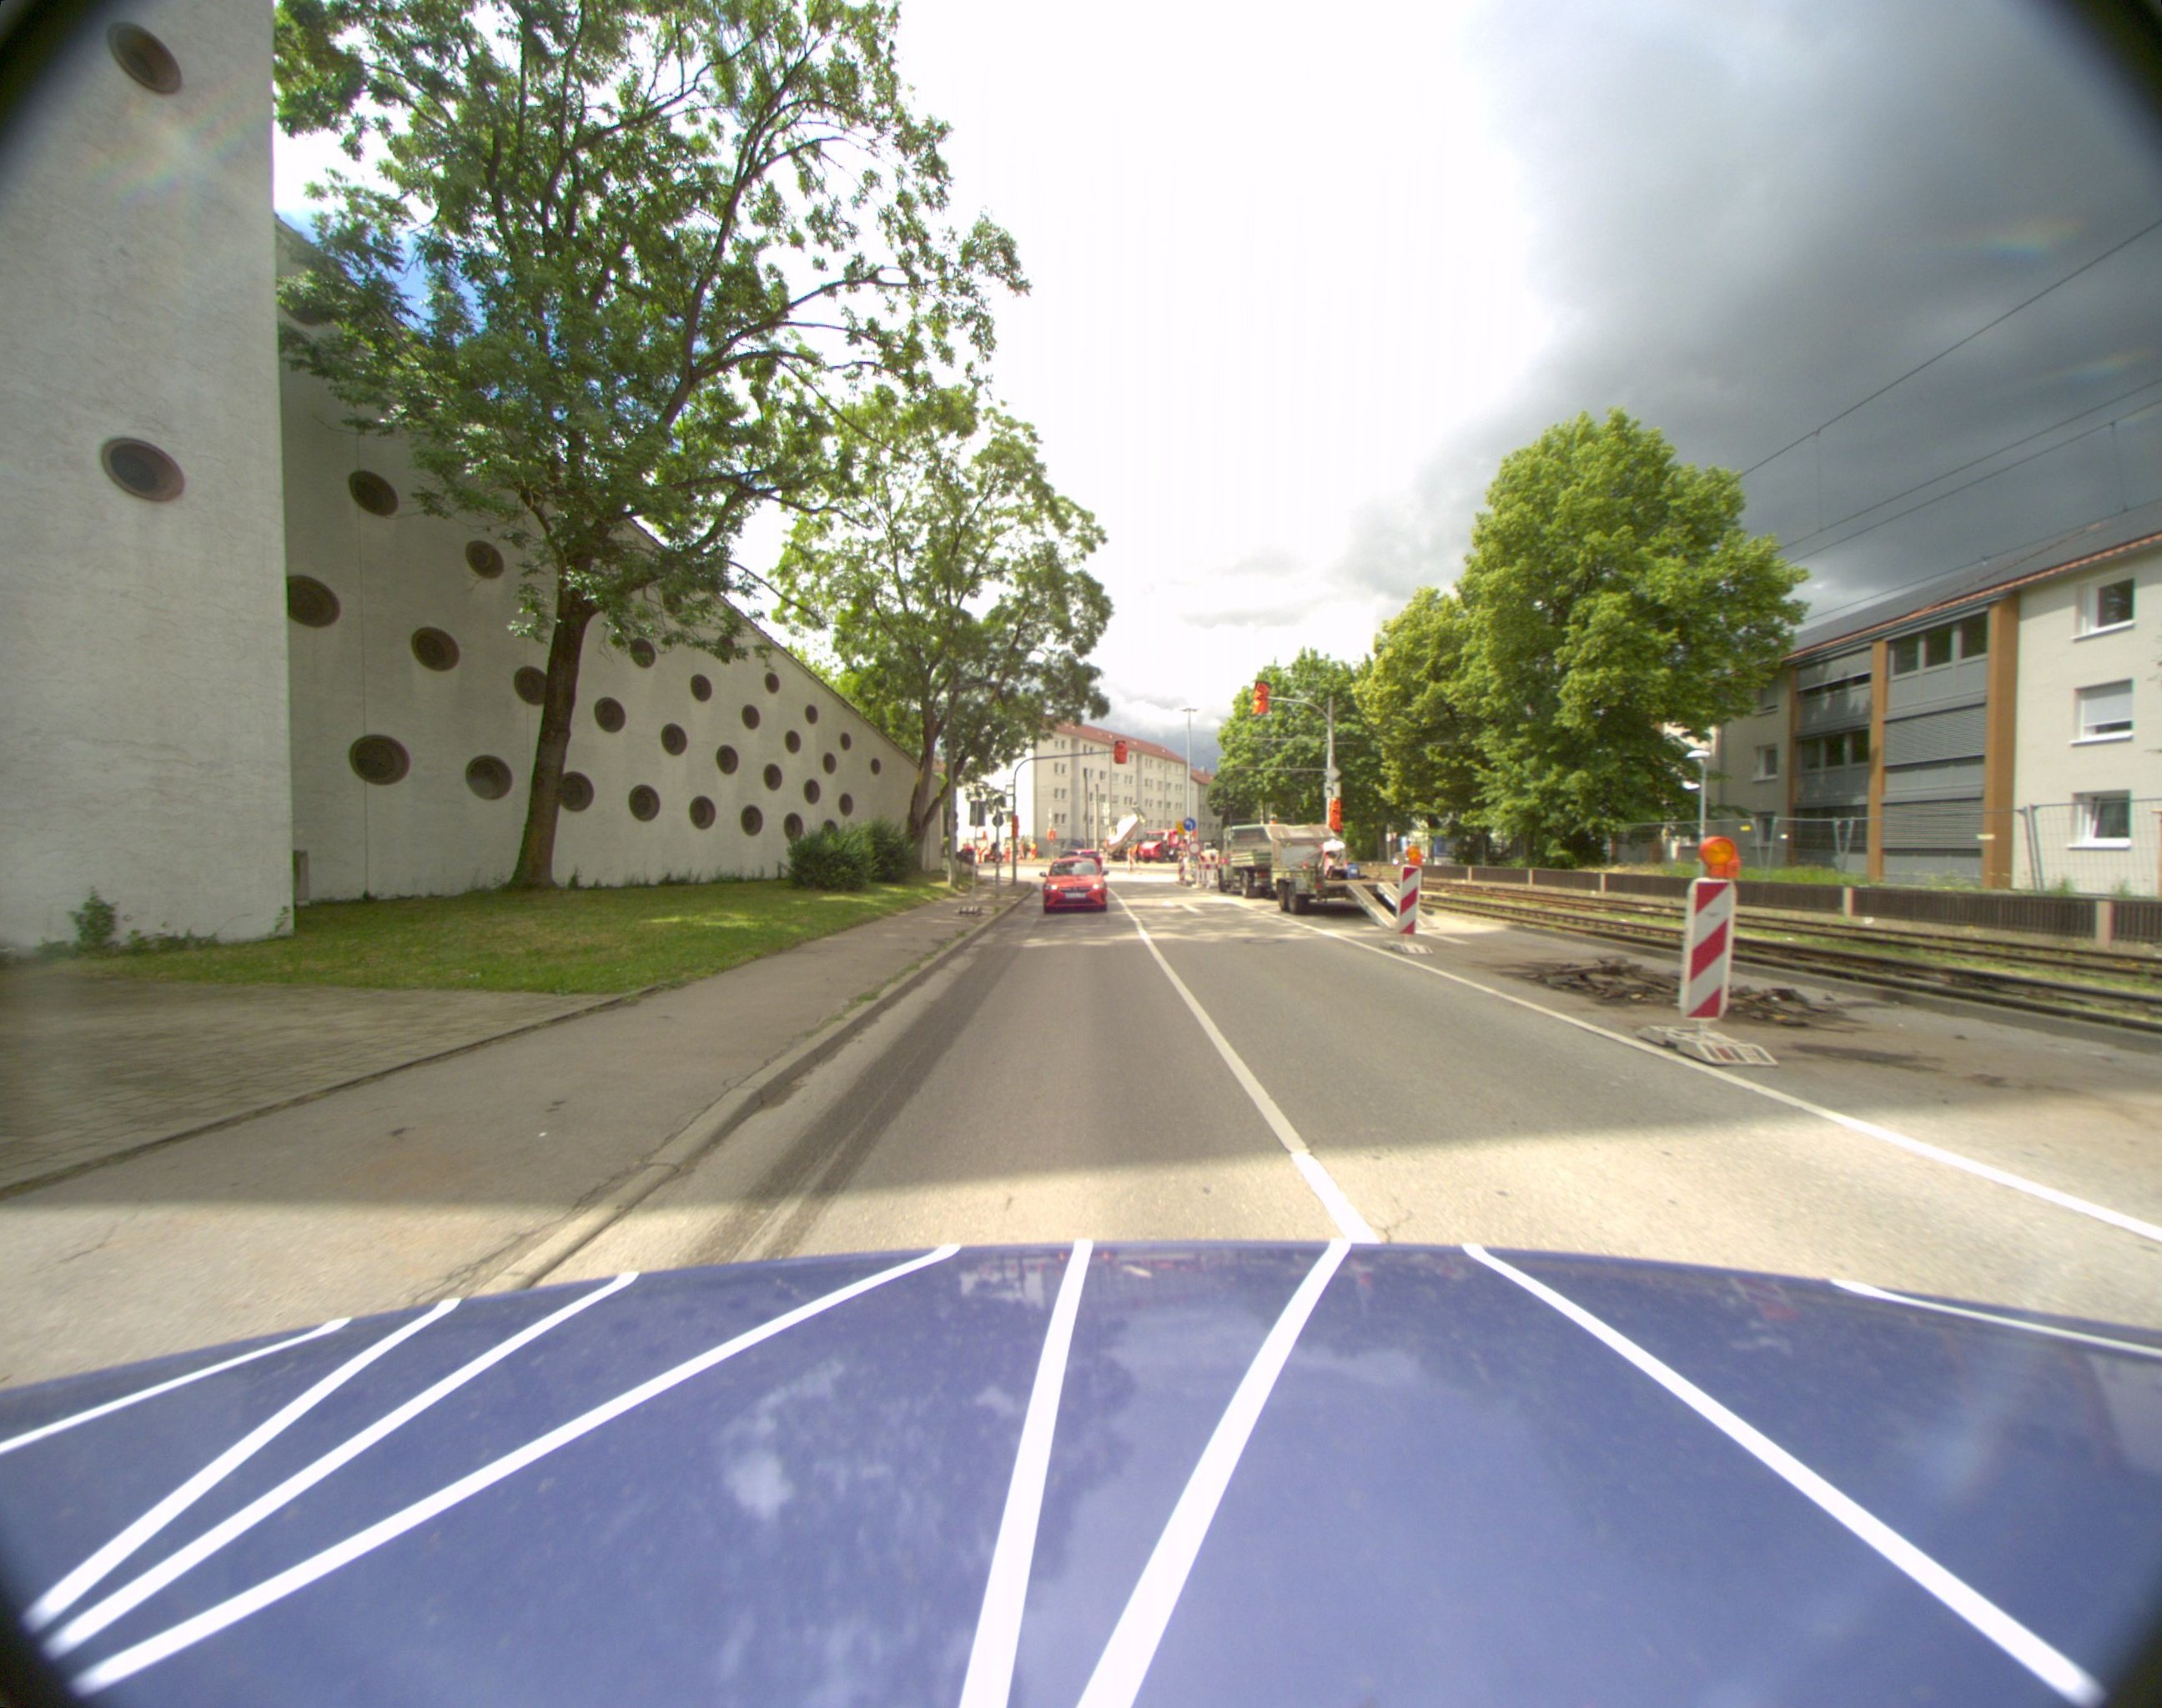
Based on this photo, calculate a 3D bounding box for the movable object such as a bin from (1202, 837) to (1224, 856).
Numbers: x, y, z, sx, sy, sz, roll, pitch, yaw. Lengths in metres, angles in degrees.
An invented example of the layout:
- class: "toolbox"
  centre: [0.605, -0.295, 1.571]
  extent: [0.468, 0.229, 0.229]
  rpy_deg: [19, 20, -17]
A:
- class: "movable object such as a bin"
  centre: [17.034, -0.908, 97.571]
  extent: [1.995, 2.395, 4.006]
  rpy_deg: [1, 0, 22]

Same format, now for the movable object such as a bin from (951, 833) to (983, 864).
- class: "movable object such as a bin"
  centre: [-9.488, -0.473, 63.203]
  extent: [2.355, 2.579, 1.323]
  rpy_deg: [1, 2, 39]

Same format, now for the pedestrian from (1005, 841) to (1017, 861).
- class: "pedestrian"
  centre: [-6.429, -0.310, 69.811]
  extent: [0.767, 1.829, 0.785]
  rpy_deg: [1, 1, 26]

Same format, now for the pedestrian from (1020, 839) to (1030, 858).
- class: "pedestrian"
  centre: [-5.500, -0.564, 74.736]
  extent: [0.881, 1.897, 0.666]
  rpy_deg: [-1, 2, -16]

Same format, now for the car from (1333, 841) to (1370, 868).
- class: "car"
  centre: [19.548, -0.001, 55.155]
  extent: [1.996, 1.876, 5.256]
  rpy_deg: [0, 1, 14]

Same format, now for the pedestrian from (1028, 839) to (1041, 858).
- class: "pedestrian"
  centre: [-4.525, -0.550, 73.748]
  extent: [0.872, 1.813, 1.098]
  rpy_deg: [1, 1, 28]

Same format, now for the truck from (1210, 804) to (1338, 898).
- class: "truck"
  centre: [6.227, -0.144, 25.565]
  extent: [2.669, 2.710, 6.394]
  rpy_deg: [-1, 1, 0]

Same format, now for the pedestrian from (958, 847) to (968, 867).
- class: "pedestrian"
  centre: [-9.828, 0.261, 63.233]
  extent: [0.557, 1.673, 0.471]
  rpy_deg: [1, 4, 31]

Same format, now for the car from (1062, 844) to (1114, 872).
- class: "car"
  centre: [0.375, 0.238, 46.957]
  extent: [1.850, 1.608, 4.235]
  rpy_deg: [-2, 1, -20]

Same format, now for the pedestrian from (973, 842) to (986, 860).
- class: "pedestrian"
  centre: [-9.544, -0.308, 71.561]
  extent: [0.916, 1.706, 0.755]
  rpy_deg: [0, 2, 34]

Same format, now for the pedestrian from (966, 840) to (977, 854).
- class: "pedestrian"
  centre: [-9.016, -0.575, 62.534]
  extent: [0.615, 1.209, 0.552]
  rpy_deg: [1, 1, 39]

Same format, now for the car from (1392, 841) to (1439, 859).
- class: "car"
  centre: [26.700, -0.337, 60.743]
  extent: [3.197, 1.446, 1.566]
  rpy_deg: [1, 1, 15]

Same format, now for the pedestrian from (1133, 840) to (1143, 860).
- class: "pedestrian"
  centre: [5.069, -0.330, 67.405]
  extent: [0.611, 1.778, 0.583]
  rpy_deg: [-1, 1, 32]

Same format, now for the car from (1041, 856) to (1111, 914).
- class: "car"
  centre: [-0.051, 0.844, 22.328]
  extent: [1.769, 1.425, 3.839]
  rpy_deg: [-2, 1, 3]

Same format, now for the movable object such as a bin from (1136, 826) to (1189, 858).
- class: "movable object such as a bin"
  centre: [7.074, -1.086, 65.402]
  extent: [2.110, 2.654, 5.598]
  rpy_deg: [1, 2, 34]

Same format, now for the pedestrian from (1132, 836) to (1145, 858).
- class: "pedestrian"
  centre: [4.698, -0.590, 62.457]
  extent: [0.797, 1.822, 0.970]
  rpy_deg: [-1, 2, -16]

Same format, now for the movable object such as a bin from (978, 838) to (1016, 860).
- class: "movable object such as a bin"
  centre: [-7.800, -0.480, 70.366]
  extent: [2.959, 2.002, 2.004]
  rpy_deg: [1, 1, 38]

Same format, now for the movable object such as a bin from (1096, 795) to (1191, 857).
- class: "movable object such as a bin"
  centre: [5.941, -2.492, 71.333]
  extent: [9.052, 5.453, 2.813]
  rpy_deg: [0, 1, -33]

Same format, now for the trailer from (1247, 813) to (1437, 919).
- class: "trailer"
  centre: [6.229, 0.197, 19.251]
  extent: [2.669, 2.201, 6.246]
  rpy_deg: [-1, 1, 0]
